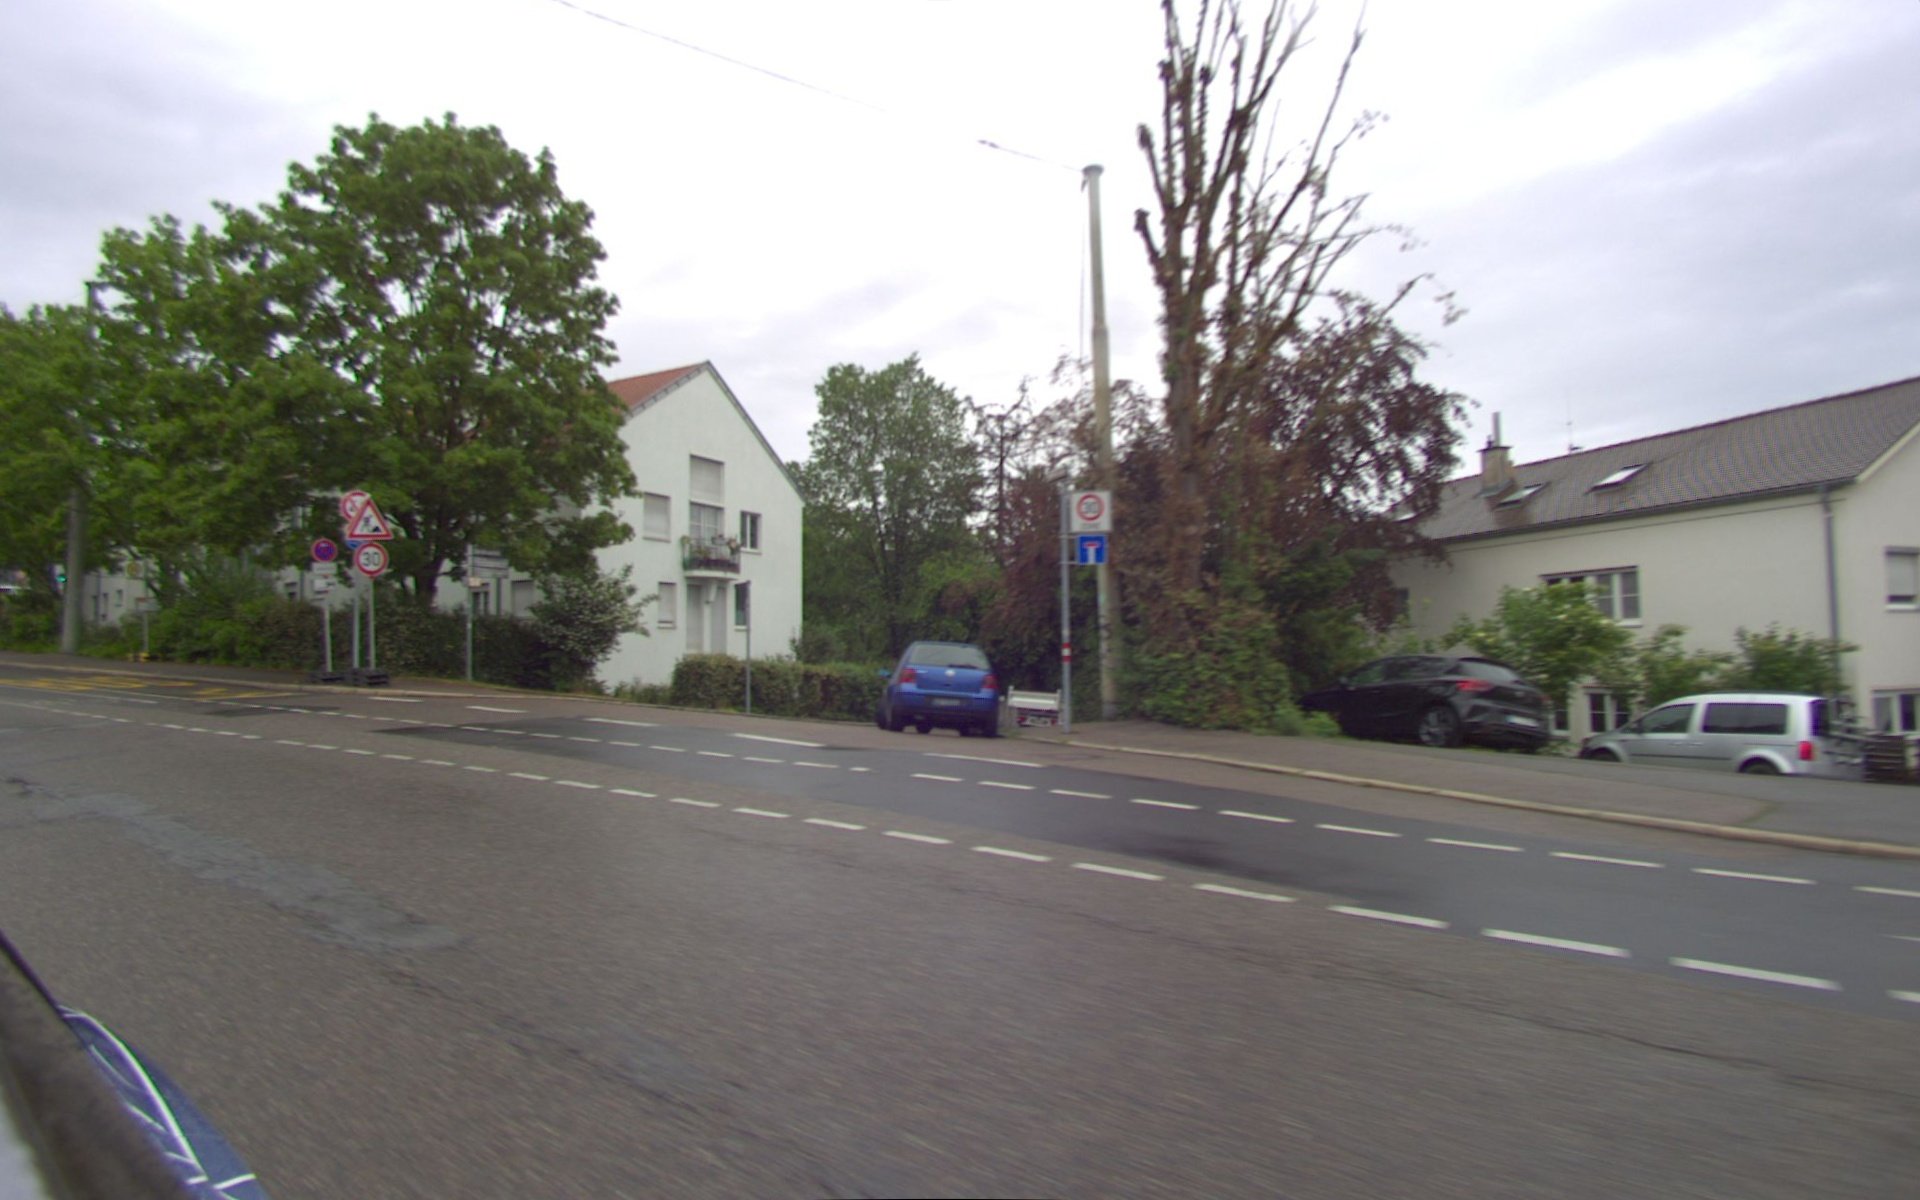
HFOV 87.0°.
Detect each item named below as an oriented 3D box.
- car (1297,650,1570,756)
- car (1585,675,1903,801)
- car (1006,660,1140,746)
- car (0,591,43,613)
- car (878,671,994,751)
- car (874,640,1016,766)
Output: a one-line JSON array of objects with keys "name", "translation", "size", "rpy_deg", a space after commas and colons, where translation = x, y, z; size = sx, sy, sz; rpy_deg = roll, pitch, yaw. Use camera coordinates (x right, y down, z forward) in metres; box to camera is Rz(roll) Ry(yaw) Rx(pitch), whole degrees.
[{"name": "car", "translation": [6.857, 1.450, 15.040], "size": [1.528, 1.337, 3.574], "rpy_deg": [3, -3, -22]}, {"name": "car", "translation": [13.289, 2.266, 17.450], "size": [1.757, 1.653, 3.955], "rpy_deg": [3, -2, -22]}, {"name": "car", "translation": [3.613, 3.268, 31.907], "size": [3.940, 2.427, 2.056], "rpy_deg": [9, -7, -44]}, {"name": "car", "translation": [-80.949, 0.146, 86.536], "size": [1.781, 1.814, 4.474], "rpy_deg": [2, -2, -13]}, {"name": "car", "translation": [-0.432, 2.425, 22.905], "size": [1.822, 1.505, 4.067], "rpy_deg": [2, -3, 10]}, {"name": "car", "translation": [-0.369, 1.573, 16.621], "size": [1.813, 1.678, 3.948], "rpy_deg": [3, -1, -7]}]
